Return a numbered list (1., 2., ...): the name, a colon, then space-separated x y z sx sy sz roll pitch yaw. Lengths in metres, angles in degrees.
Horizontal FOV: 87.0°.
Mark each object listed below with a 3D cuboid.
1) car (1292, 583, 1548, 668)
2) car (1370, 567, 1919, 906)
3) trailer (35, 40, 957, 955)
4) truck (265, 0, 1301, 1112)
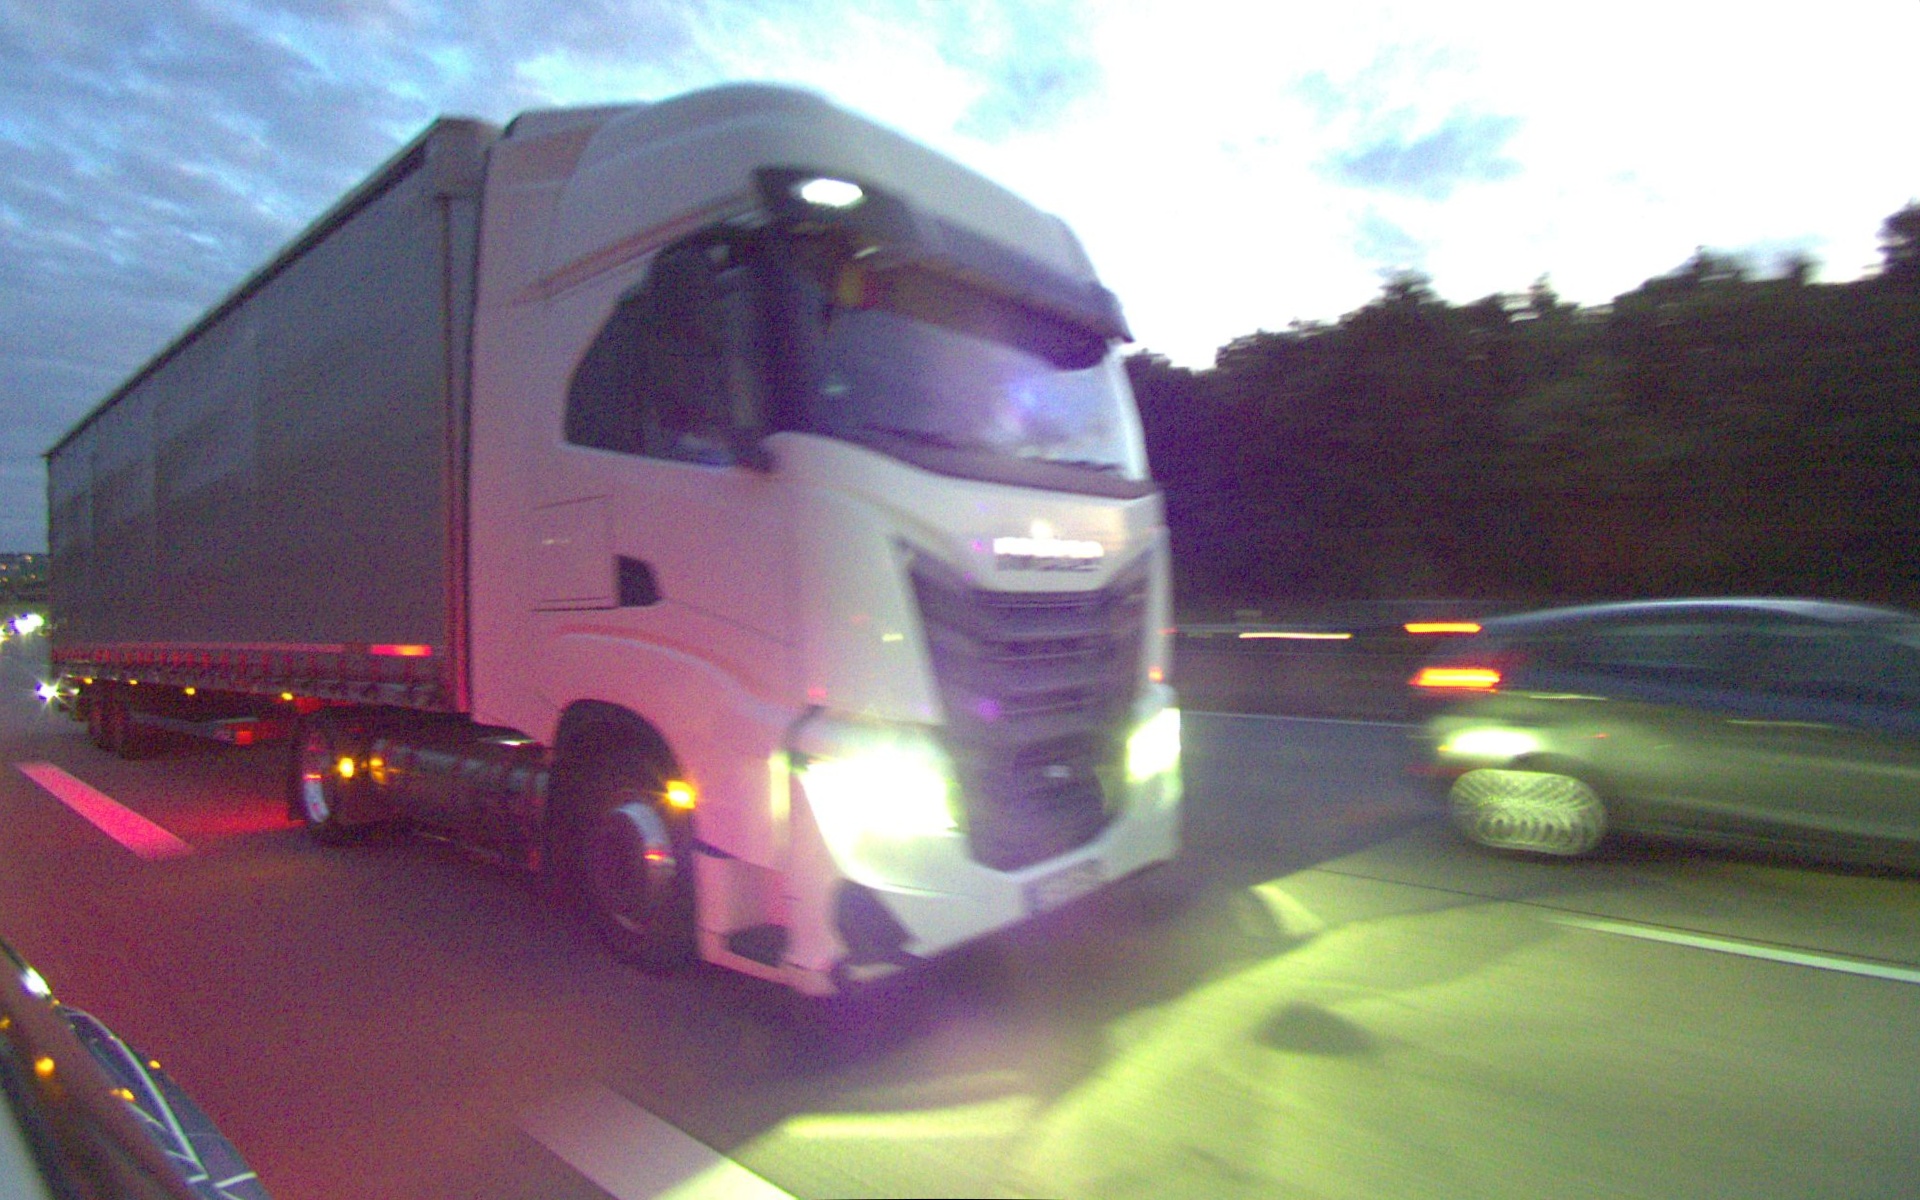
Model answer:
1. car: 9.682 0.535 21.511 4.558 1.622 1.972 -2 -1 42
2. car: 4.832 0.604 5.324 4.546 1.509 1.973 -2 -1 41
3. trailer: -6.497 -0.274 10.298 14.812 3.945 2.745 -2 -1 41
4. truck: -1.565 -0.440 5.978 6.151 3.931 2.750 -2 -1 41
